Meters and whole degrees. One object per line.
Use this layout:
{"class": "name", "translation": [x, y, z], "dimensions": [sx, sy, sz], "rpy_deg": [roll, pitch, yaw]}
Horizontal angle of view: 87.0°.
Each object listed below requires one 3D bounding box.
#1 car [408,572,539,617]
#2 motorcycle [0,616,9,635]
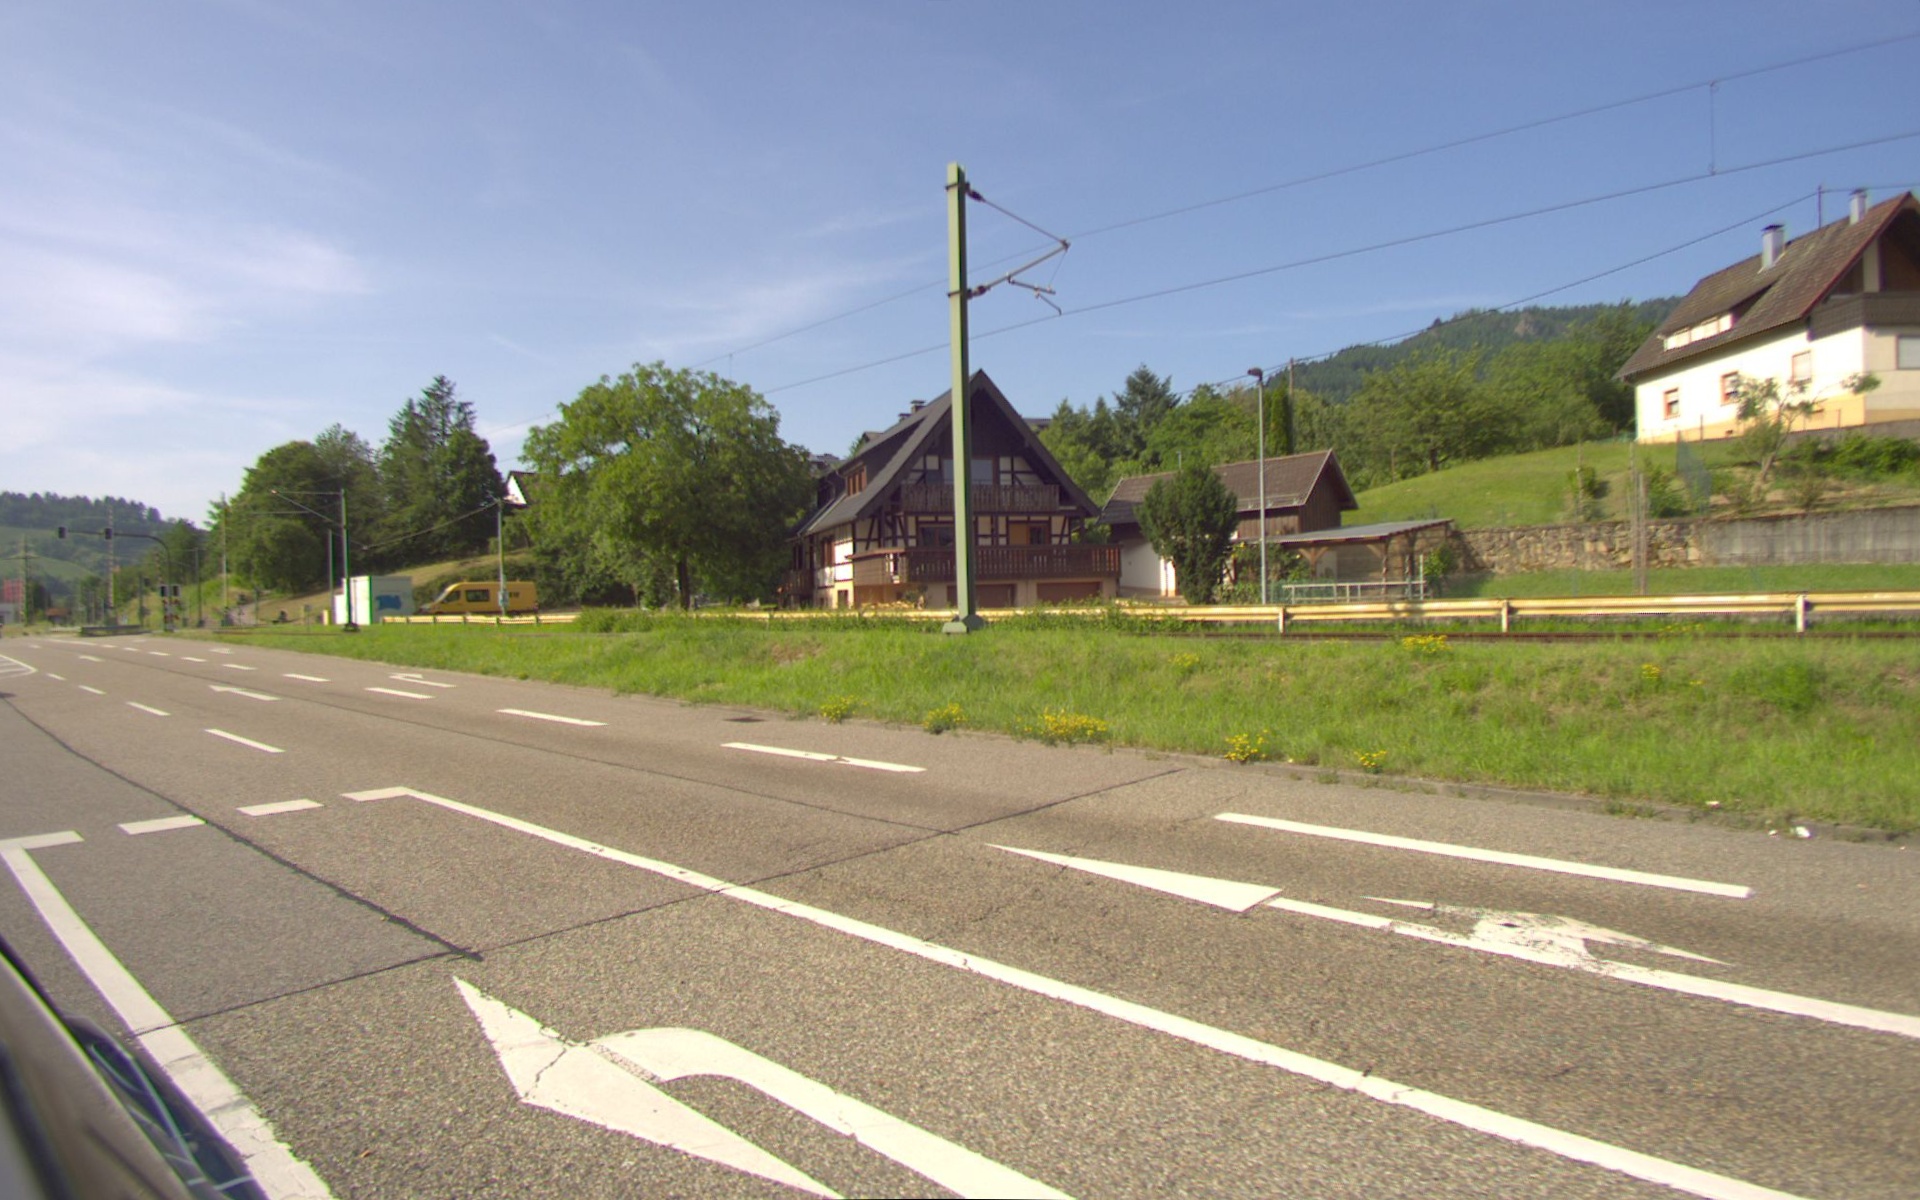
{"class": "car", "translation": [-30.842, -0.360, 64.230], "dimensions": [6.972, 2.475, 2.955], "rpy_deg": [-3, 1, -37]}
{"class": "motorcycle", "translation": [-67.080, 1.825, 69.388], "dimensions": [0.997, 1.278, 2.579], "rpy_deg": [-3, 2, 17]}
